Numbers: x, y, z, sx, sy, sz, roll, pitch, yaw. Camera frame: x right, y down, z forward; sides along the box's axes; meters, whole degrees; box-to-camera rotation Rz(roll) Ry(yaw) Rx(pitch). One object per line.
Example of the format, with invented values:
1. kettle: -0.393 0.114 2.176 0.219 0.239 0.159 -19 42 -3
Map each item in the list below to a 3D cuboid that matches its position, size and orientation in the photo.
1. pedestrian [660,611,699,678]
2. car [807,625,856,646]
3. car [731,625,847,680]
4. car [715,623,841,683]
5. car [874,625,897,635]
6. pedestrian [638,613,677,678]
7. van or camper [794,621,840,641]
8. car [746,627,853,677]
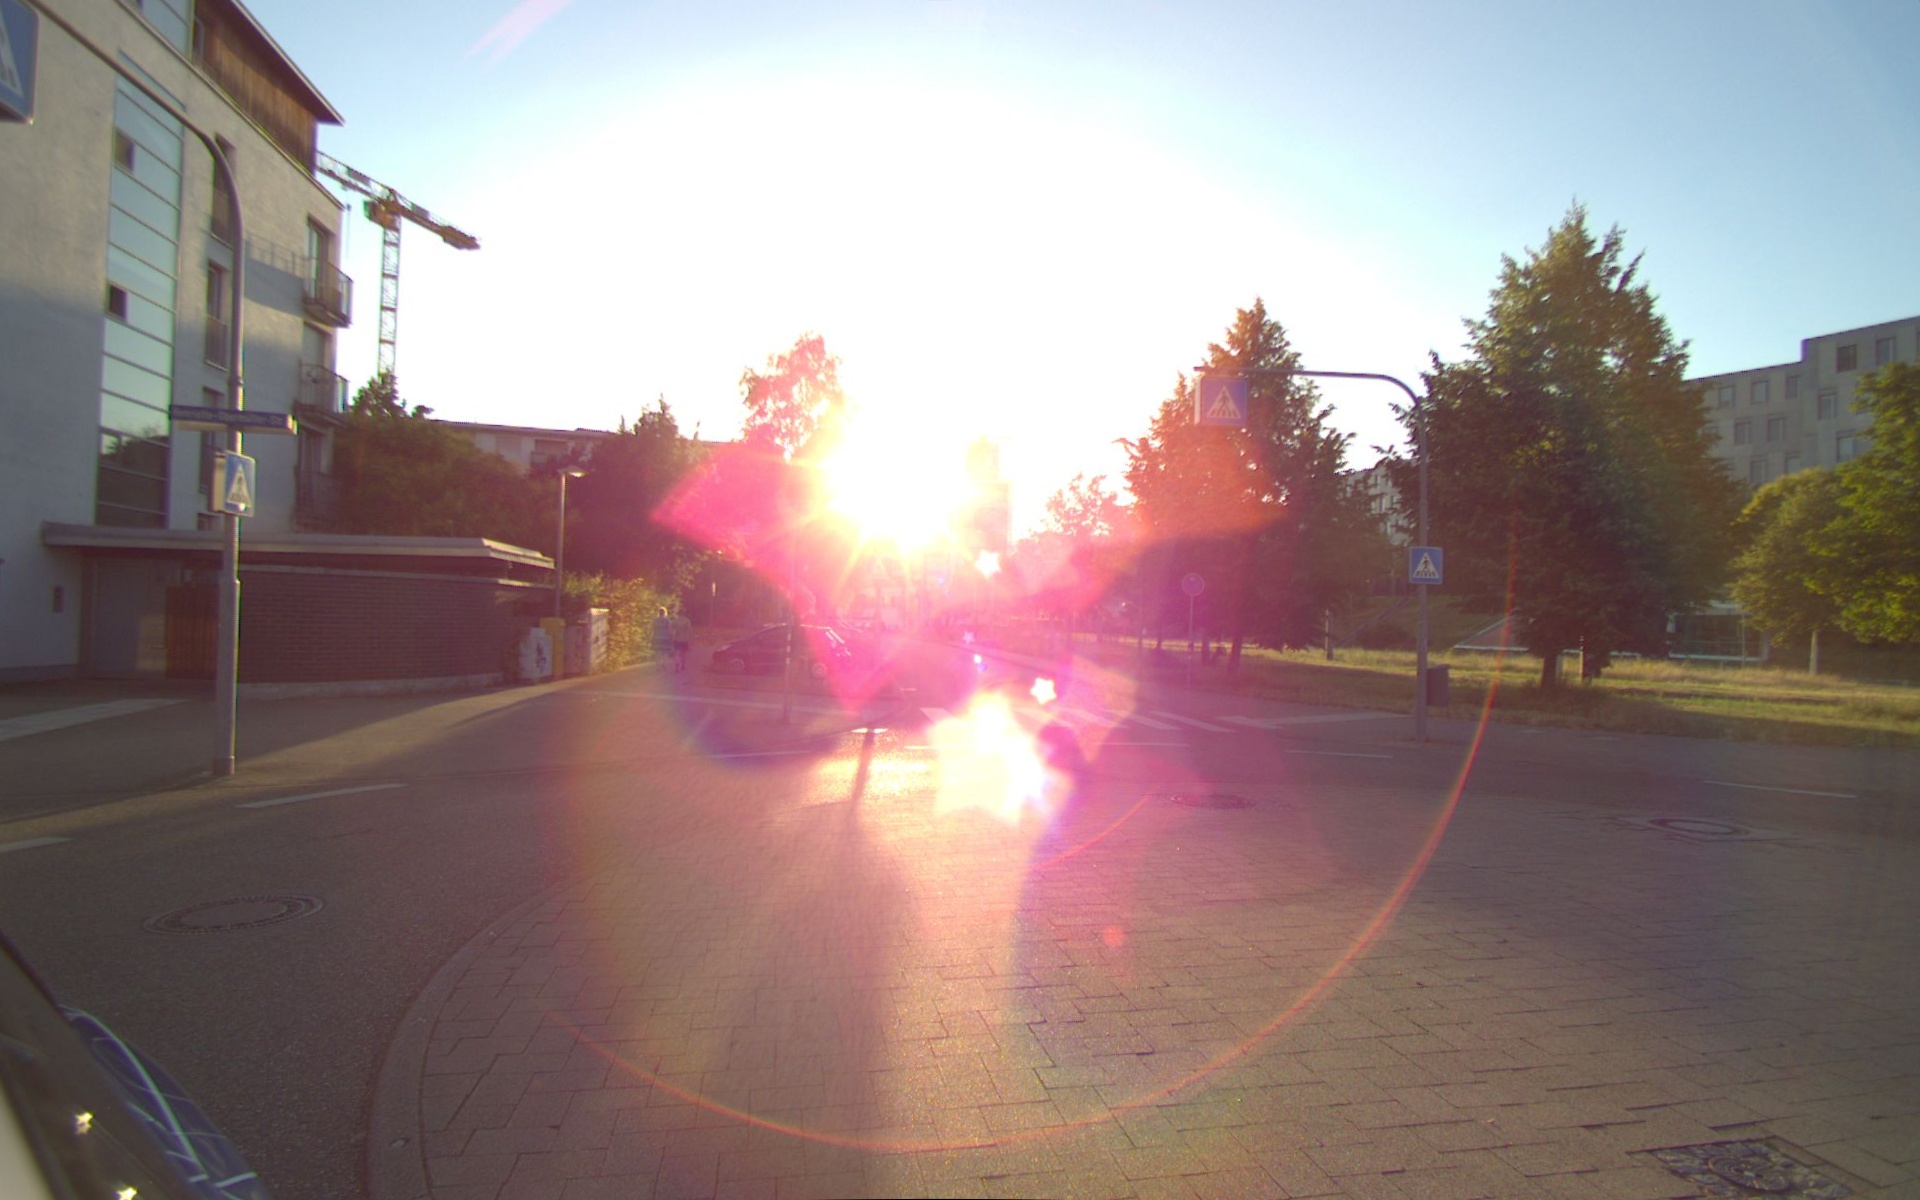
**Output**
1. pedestrian: -7.310 1.158 26.390 0.743 1.680 0.616 2 0 42
2. car: -10.682 2.916 84.004 3.815 1.707 1.707 1 -2 -13
3. car: -5.173 1.591 30.814 3.357 1.512 1.597 2 -2 -8
4. car: -5.092 1.490 28.585 3.357 1.533 1.694 2 -2 -8
5. car: -12.943 5.255 175.458 3.817 1.625 1.706 1 -2 -10
6. pedestrian: -7.738 1.152 25.877 0.713 1.612 0.647 2 0 42
7. van or camper: -12.315 2.656 86.859 3.816 1.707 1.839 1 -2 -11
8. car: -5.294 1.696 33.487 3.357 1.512 1.597 2 -2 -8
